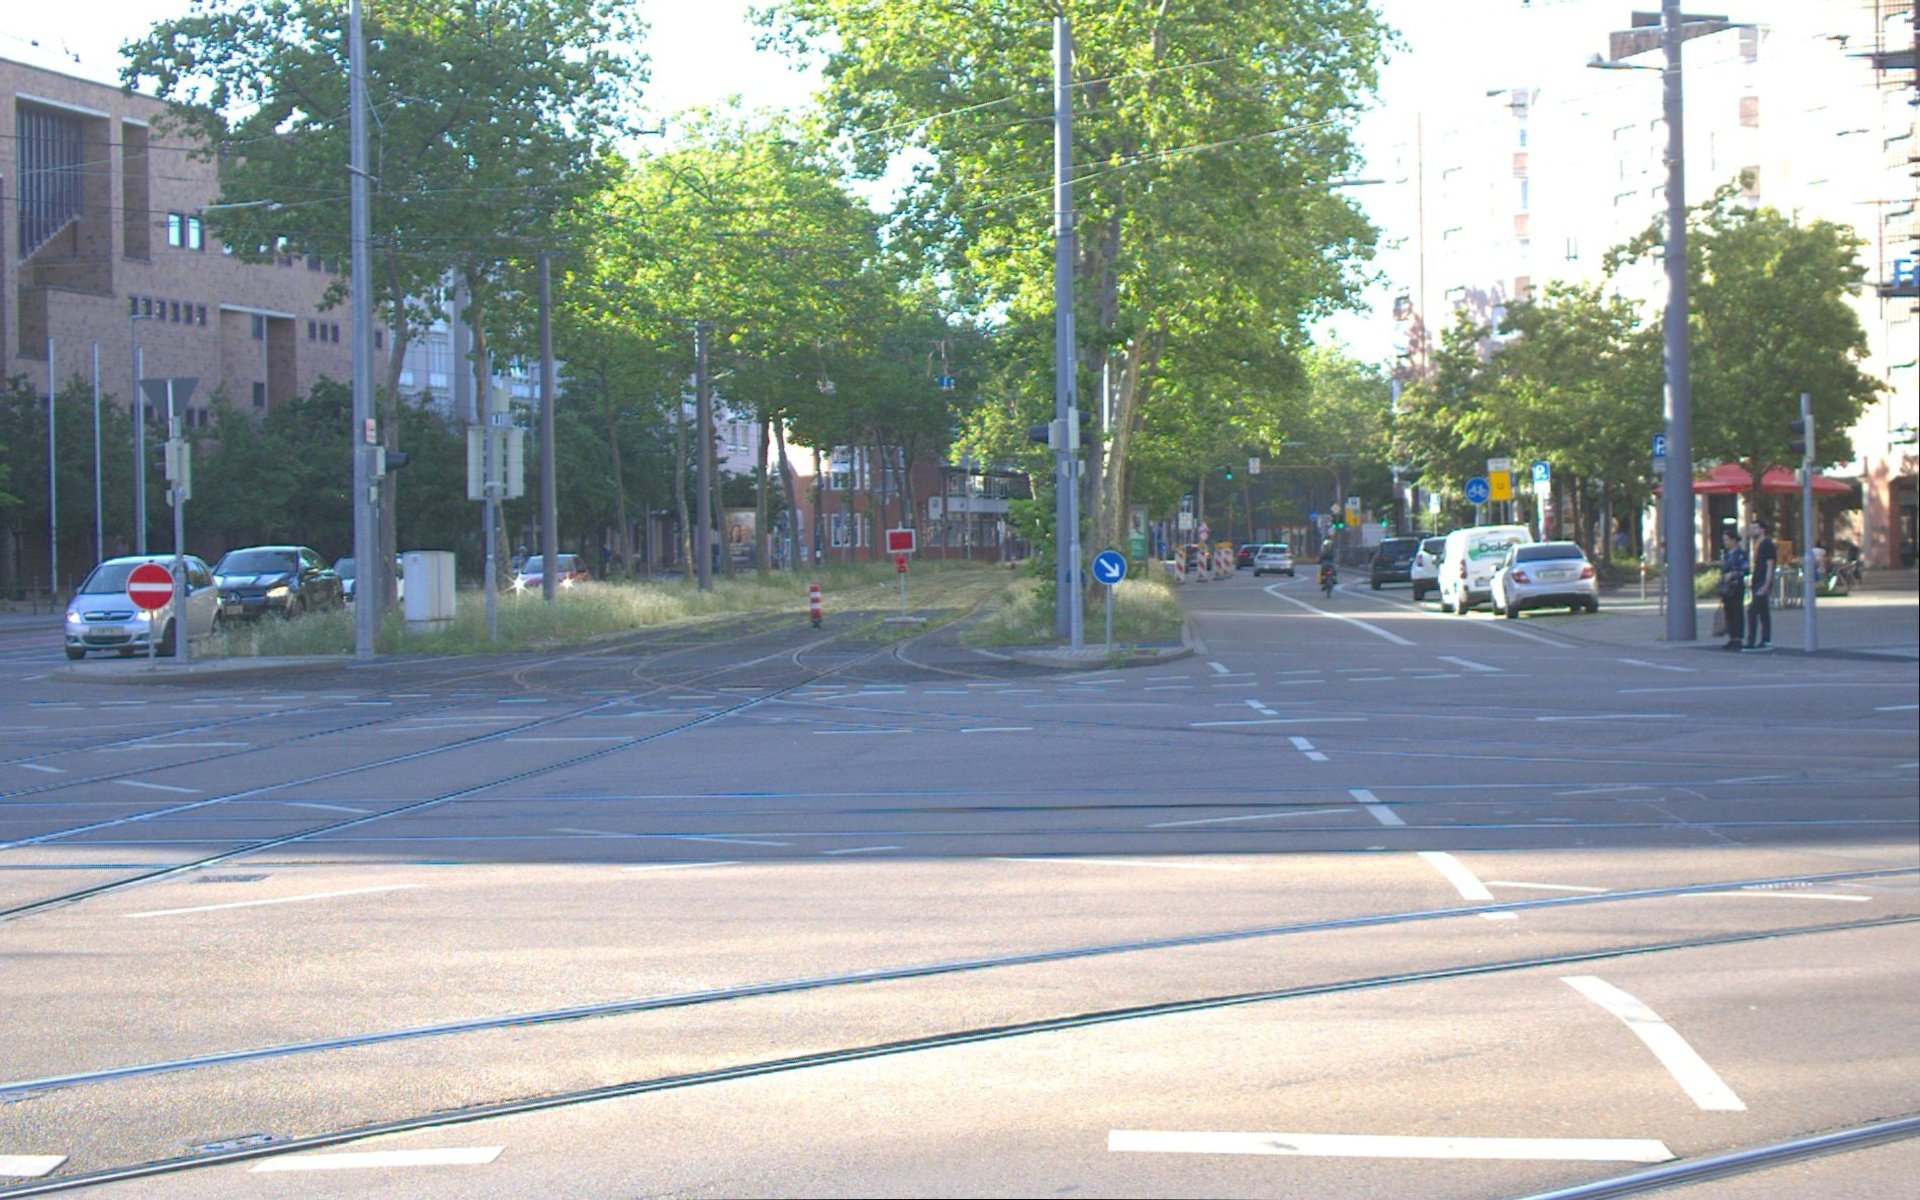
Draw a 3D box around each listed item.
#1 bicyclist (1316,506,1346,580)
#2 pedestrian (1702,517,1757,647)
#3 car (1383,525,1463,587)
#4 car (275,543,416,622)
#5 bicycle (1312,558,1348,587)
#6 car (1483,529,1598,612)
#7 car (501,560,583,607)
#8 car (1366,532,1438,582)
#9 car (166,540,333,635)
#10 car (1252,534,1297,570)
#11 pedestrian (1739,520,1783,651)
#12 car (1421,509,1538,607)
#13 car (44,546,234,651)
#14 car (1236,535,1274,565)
[{"bbox_3d":[10.234,-1.569,94.736,0.752,2.007,0.743,0,1,12],"label":"bicyclist"},{"bbox_3d":[10.910,-0.256,48.749,0.542,1.817,0.589,-1,1,-12],"label":"pedestrian"},{"bbox_3d":[12.091,-1.172,89.972,1.854,1.546,4.325,-1,1,5],"label":"car"},{"bbox_3d":[-12.613,-0.378,70.820,1.854,1.546,4.325,-1,1,4],"label":"car"},{"bbox_3d":[10.189,-0.752,94.628,0.818,0.771,1.729,-1,1,12],"label":"bicycle"},{"bbox_3d":[11.392,-0.607,67.678,1.854,1.546,4.325,-1,1,5],"label":"car"},{"bbox_3d":[-11.389,-0.469,93.457,1.841,1.218,4.001,-1,1,-12],"label":"car"},{"bbox_3d":[14.333,-1.418,111.532,2.263,1.546,4.324,-1,1,7],"label":"car"},{"bbox_3d":[-12.910,-0.255,62.730,1.854,1.645,4.325,-1,1,4],"label":"car"},{"bbox_3d":[13.955,-2.144,152.415,1.854,1.546,4.324,-1,1,7],"label":"car"},{"bbox_3d":[11.185,-0.205,48.017,0.373,1.817,0.547,-1,1,-12],"label":"pedestrian"},{"bbox_3d":[11.222,-0.919,74.512,1.994,2.007,4.385,-1,1,2],"label":"car"},{"bbox_3d":[-13.120,-0.056,55.207,1.730,1.591,4.325,-1,1,4],"label":"car"},{"bbox_3d":[15.939,-2.700,185.505,1.854,1.546,4.324,-1,1,7],"label":"car"}]
